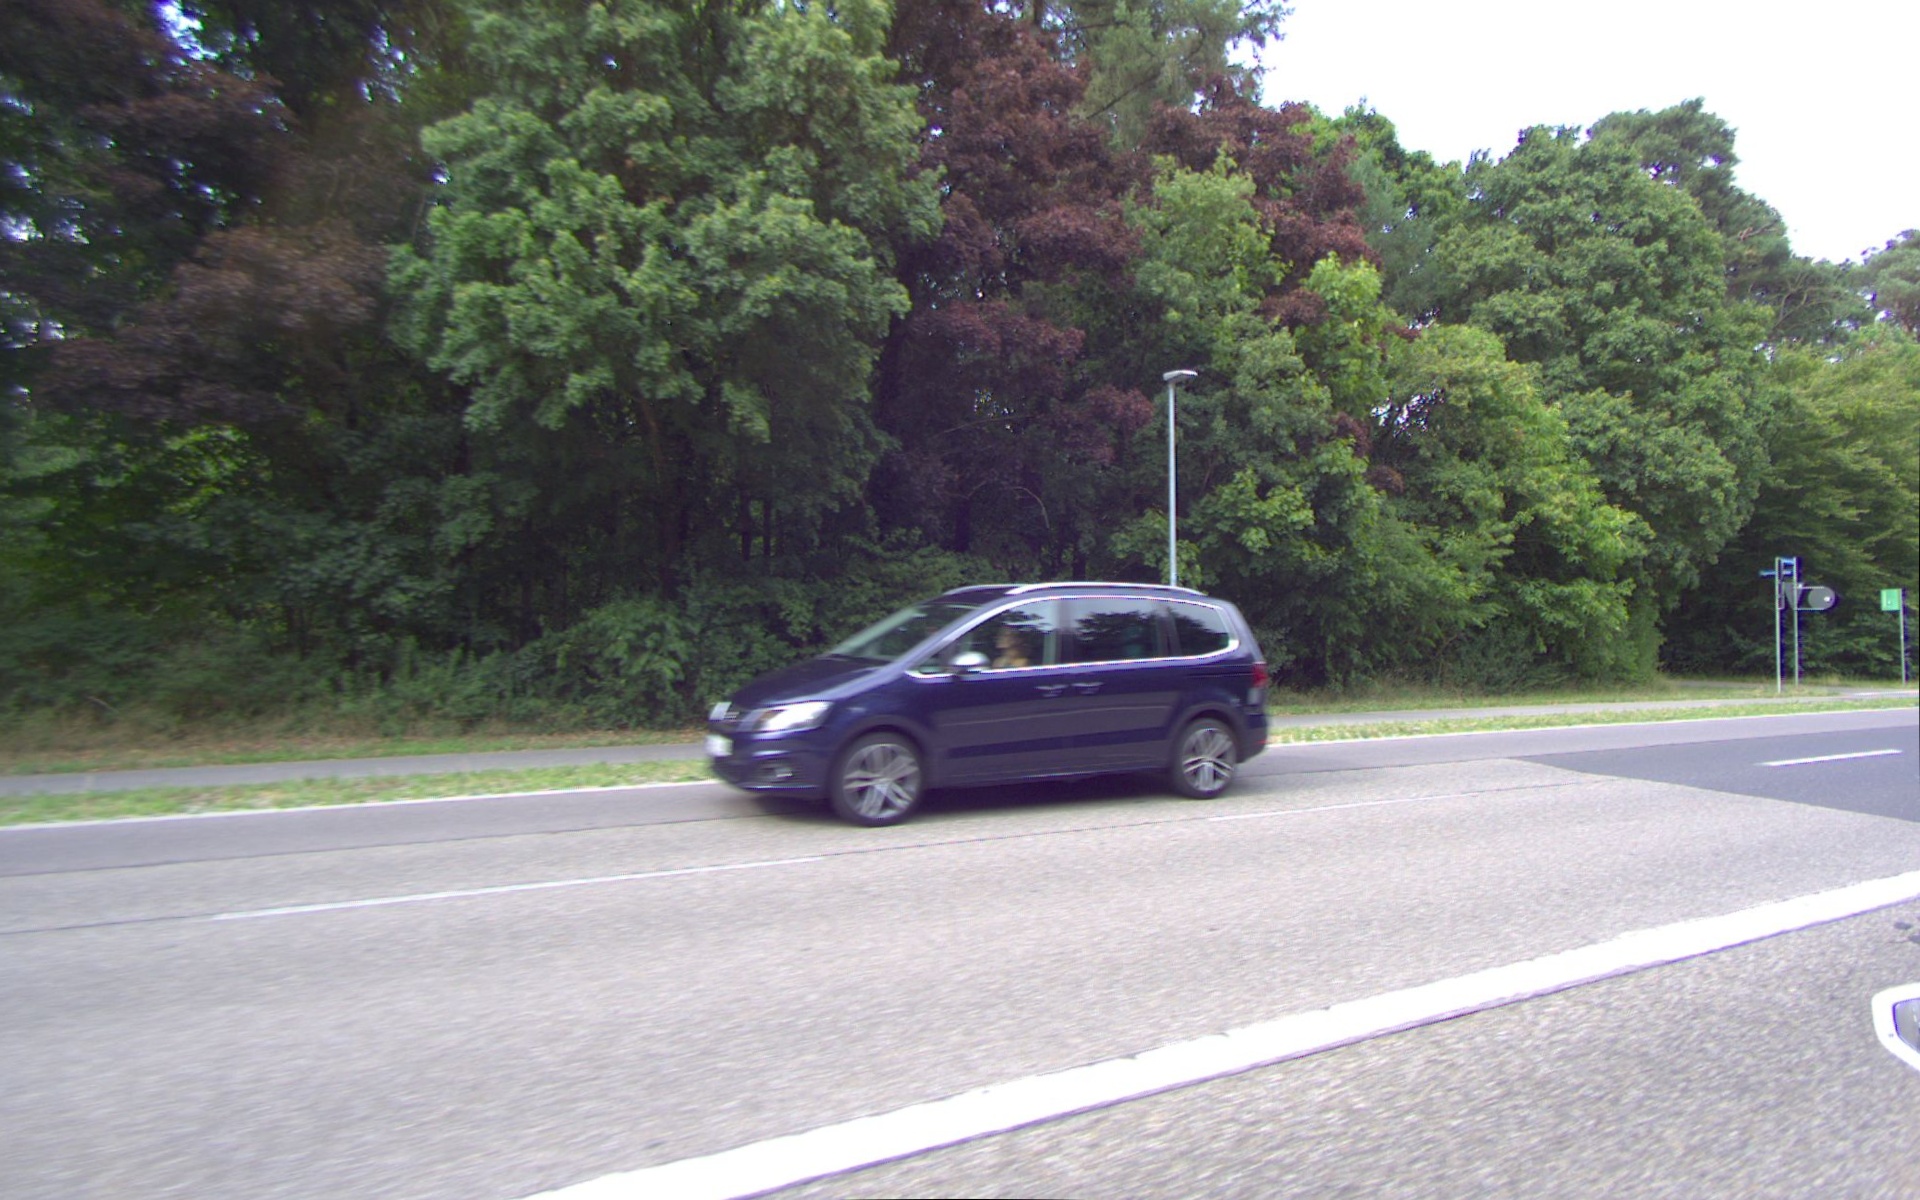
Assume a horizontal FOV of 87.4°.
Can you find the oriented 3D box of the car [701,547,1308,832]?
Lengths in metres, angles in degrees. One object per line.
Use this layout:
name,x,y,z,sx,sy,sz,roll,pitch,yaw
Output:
car,0.433,0.679,8.364,4.686,1.814,1.987,2,-2,-27
